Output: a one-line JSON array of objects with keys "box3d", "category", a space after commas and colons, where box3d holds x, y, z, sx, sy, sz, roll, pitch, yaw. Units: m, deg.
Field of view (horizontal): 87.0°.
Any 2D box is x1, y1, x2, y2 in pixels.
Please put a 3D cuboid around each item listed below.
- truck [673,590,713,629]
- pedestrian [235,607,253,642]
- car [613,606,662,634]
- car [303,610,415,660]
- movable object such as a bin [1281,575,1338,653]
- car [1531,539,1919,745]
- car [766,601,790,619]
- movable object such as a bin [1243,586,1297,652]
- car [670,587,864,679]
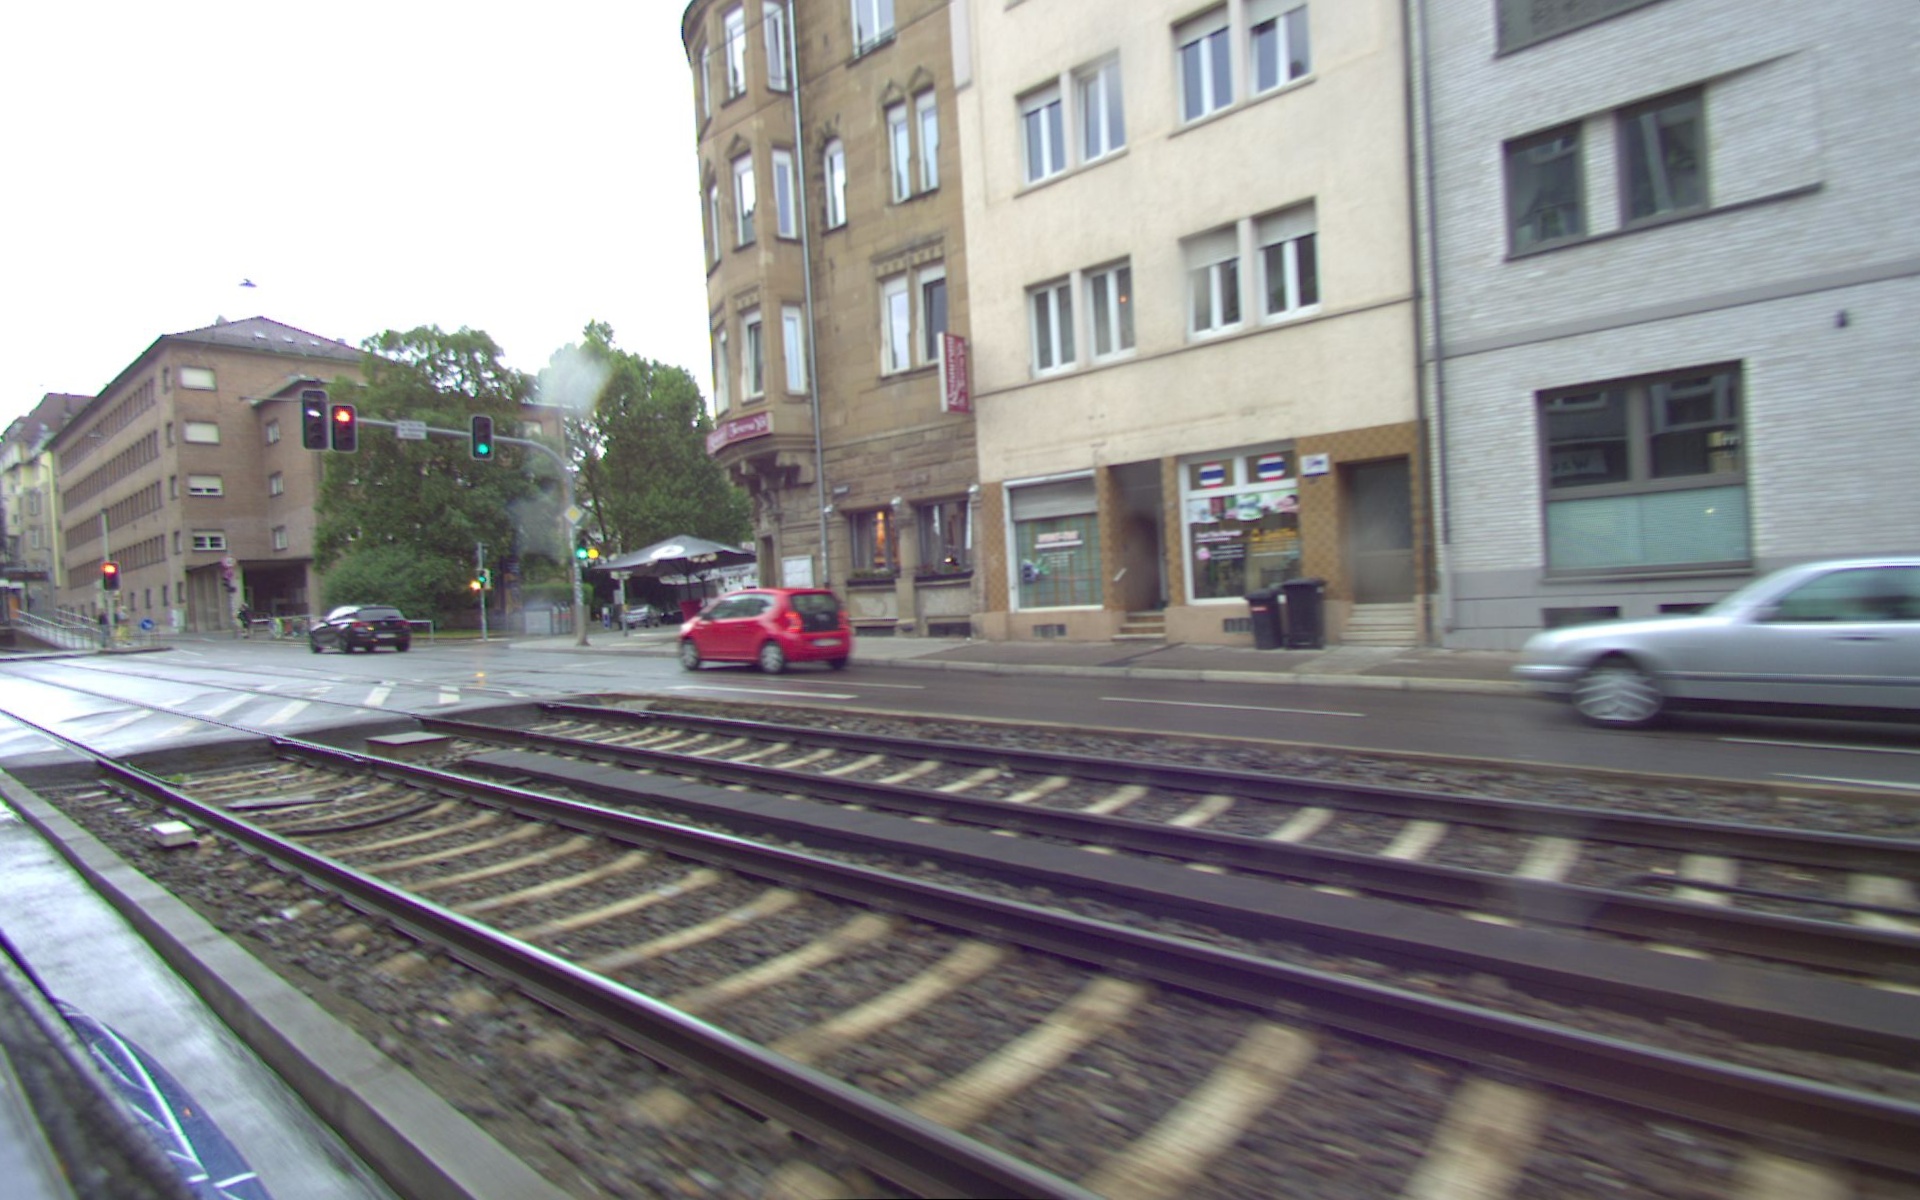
[{"box3d": [-21.580, 0.726, 82.010, 2.662, 2.939, 6.816, -2, 0, -11], "category": "truck"}, {"box3d": [-36.417, 1.245, 51.467, 0.464, 1.760, 0.616, -2, -2, 37], "category": "pedestrian"}, {"box3d": [-20.175, 1.238, 63.512, 1.812, 1.657, 4.001, -2, 0, -1], "category": "car"}, {"box3d": [-18.139, 1.037, 30.484, 3.943, 1.346, 1.759, -2, 0, 41], "category": "car"}, {"box3d": [5.258, 0.206, 15.214, 0.563, 1.088, 0.623, -2, 4, 40], "category": "movable object such as a bin"}, {"box3d": [7.301, 0.283, 7.938, 4.641, 1.472, 1.695, -2, 0, 42], "category": "car"}, {"box3d": [-16.500, 0.912, 91.919, 1.522, 1.526, 3.199, -2, 0, 2], "category": "car"}, {"box3d": [4.825, 0.292, 15.746, 0.563, 0.934, 0.623, -2, 5, 40], "category": "movable object such as a bin"}, {"box3d": [-3.470, 0.550, 17.947, 3.386, 1.461, 1.610, -2, 0, 41], "category": "car"}]
